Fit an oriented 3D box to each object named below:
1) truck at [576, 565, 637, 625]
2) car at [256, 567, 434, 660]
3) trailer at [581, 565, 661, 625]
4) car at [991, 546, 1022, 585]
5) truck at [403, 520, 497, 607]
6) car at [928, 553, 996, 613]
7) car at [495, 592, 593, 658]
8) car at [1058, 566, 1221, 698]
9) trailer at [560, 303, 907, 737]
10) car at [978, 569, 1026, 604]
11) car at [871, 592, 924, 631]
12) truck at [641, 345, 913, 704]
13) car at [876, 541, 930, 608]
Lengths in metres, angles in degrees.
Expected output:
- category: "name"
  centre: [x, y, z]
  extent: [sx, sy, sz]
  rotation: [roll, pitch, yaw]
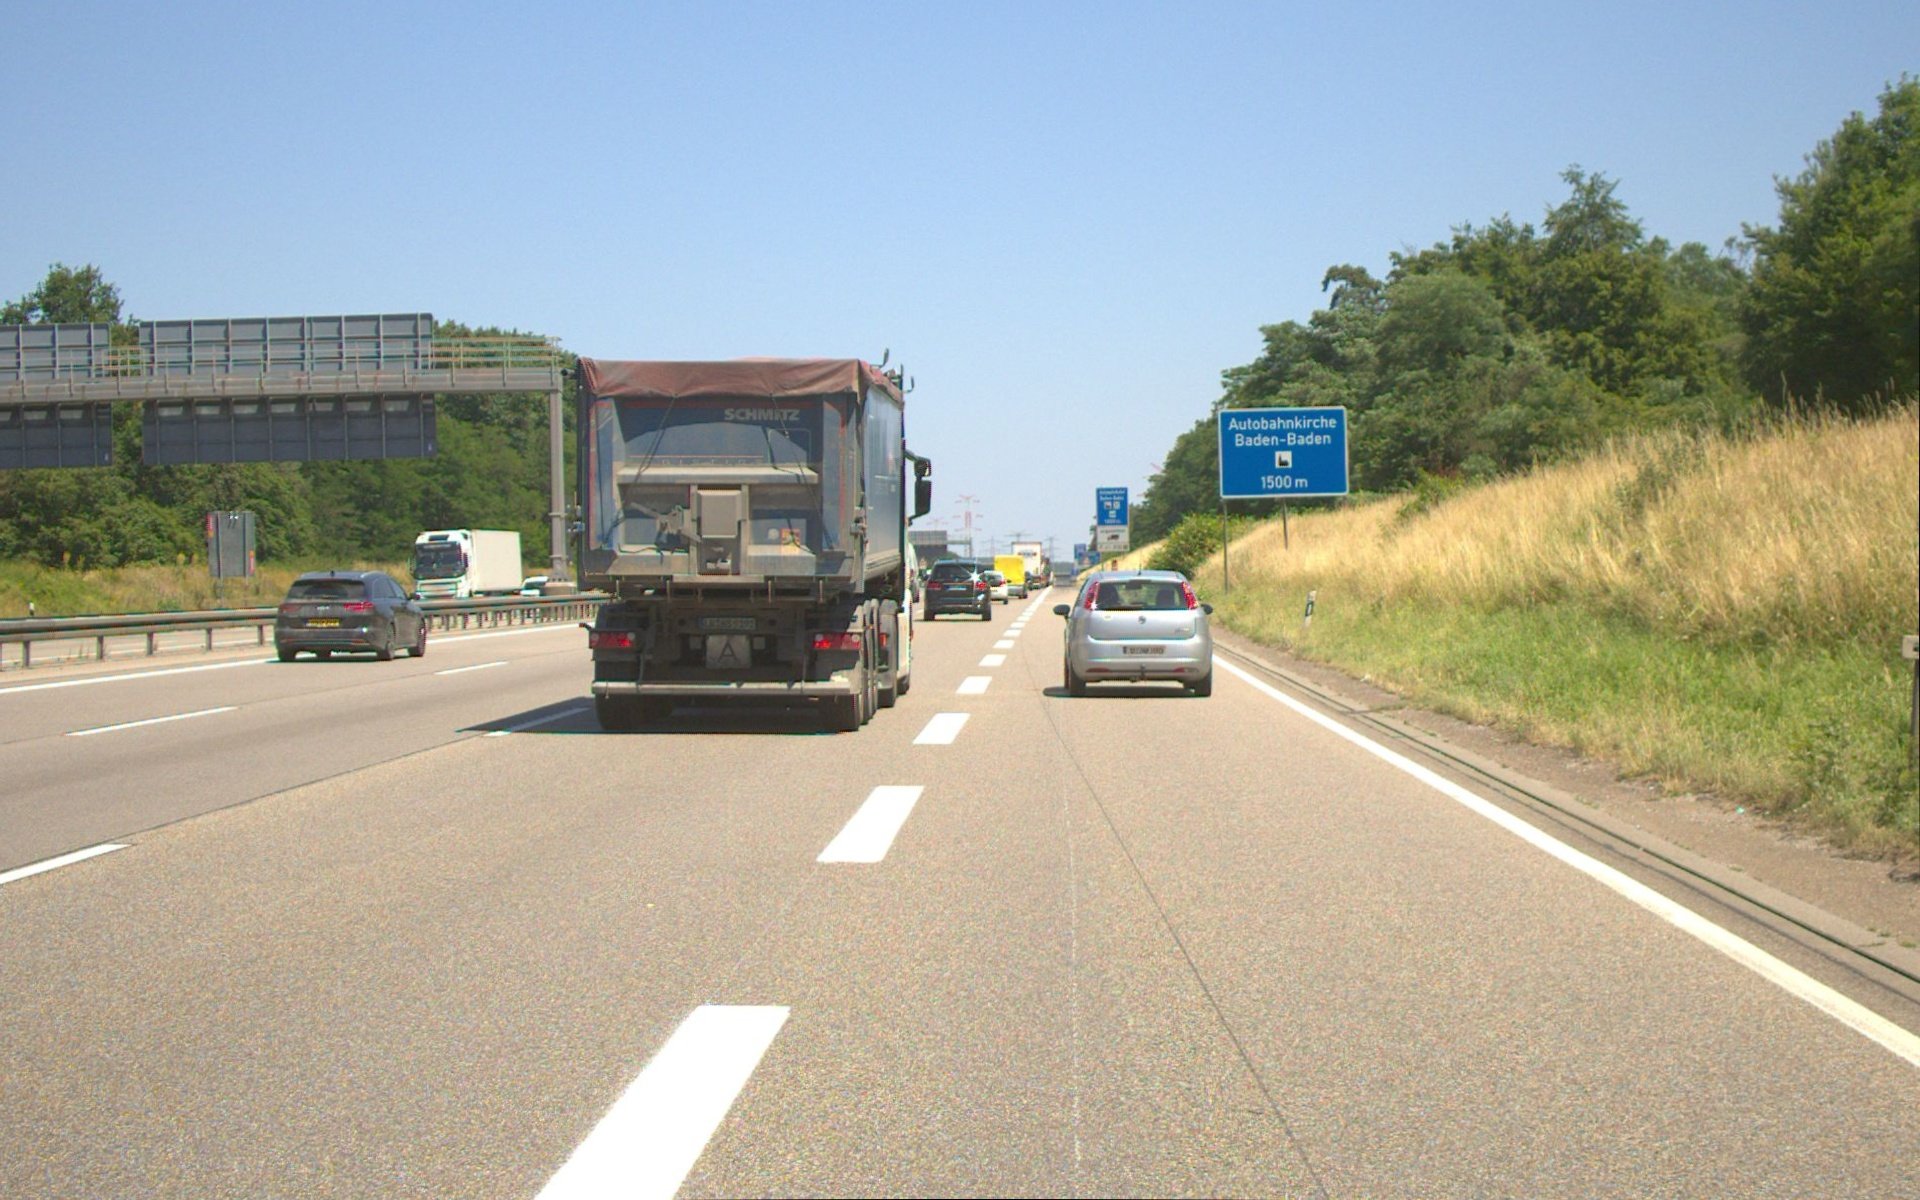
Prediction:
- category: "truck"
  centre: [-23.267, -0.335, 226.650]
  extent: [3.168, 3.917, 5.399]
  rotation: [0, 0, 4]
- category: "car"
  centre: [-9.900, 0.186, 55.712]
  extent: [1.832, 1.427, 4.999]
  rotation: [0, 1, 2]
- category: "trailer"
  centre: [-22.893, -0.346, 232.863]
  extent: [3.168, 3.917, 13.961]
  rotation: [0, 0, 4]
- category: "car"
  centre: [2.430, -1.790, 179.370]
  extent: [1.611, 2.007, 4.000]
  rotation: [1, 0, 1]
- category: "truck"
  centre: [-24.021, -1.694, 162.233]
  extent: [3.214, 4.004, 6.215]
  rotation: [0, 0, 3]
- category: "car"
  centre: [0.080, -0.484, 99.181]
  extent: [1.832, 1.666, 4.000]
  rotation: [1, 0, 2]
- category: "car"
  centre: [-10.013, 0.573, 83.025]
  extent: [1.703, 1.469, 4.597]
  rotation: [-1, 1, 1]
- category: "car"
  centre: [2.100, 0.347, 41.114]
  extent: [1.719, 1.486, 3.737]
  rotation: [0, 1, 0]
- category: "trailer"
  centre: [-2.030, -0.746, 34.332]
  extent: [2.737, 3.746, 9.109]
  rotation: [0, 1, 1]
- category: "car"
  centre: [1.838, -0.592, 149.481]
  extent: [1.821, 1.486, 3.736]
  rotation: [0, 0, 4]
- category: "car"
  centre: [-2.423, 0.434, 134.406]
  extent: [1.894, 1.464, 4.261]
  rotation: [1, 1, 1]
- category: "truck"
  centre: [-1.958, -0.827, 39.060]
  extent: [2.684, 3.746, 5.944]
  rotation: [0, 1, 1]
- category: "car"
  centre: [-2.556, -1.160, 155.589]
  extent: [2.260, 2.940, 6.113]
  rotation: [1, 0, 1]
